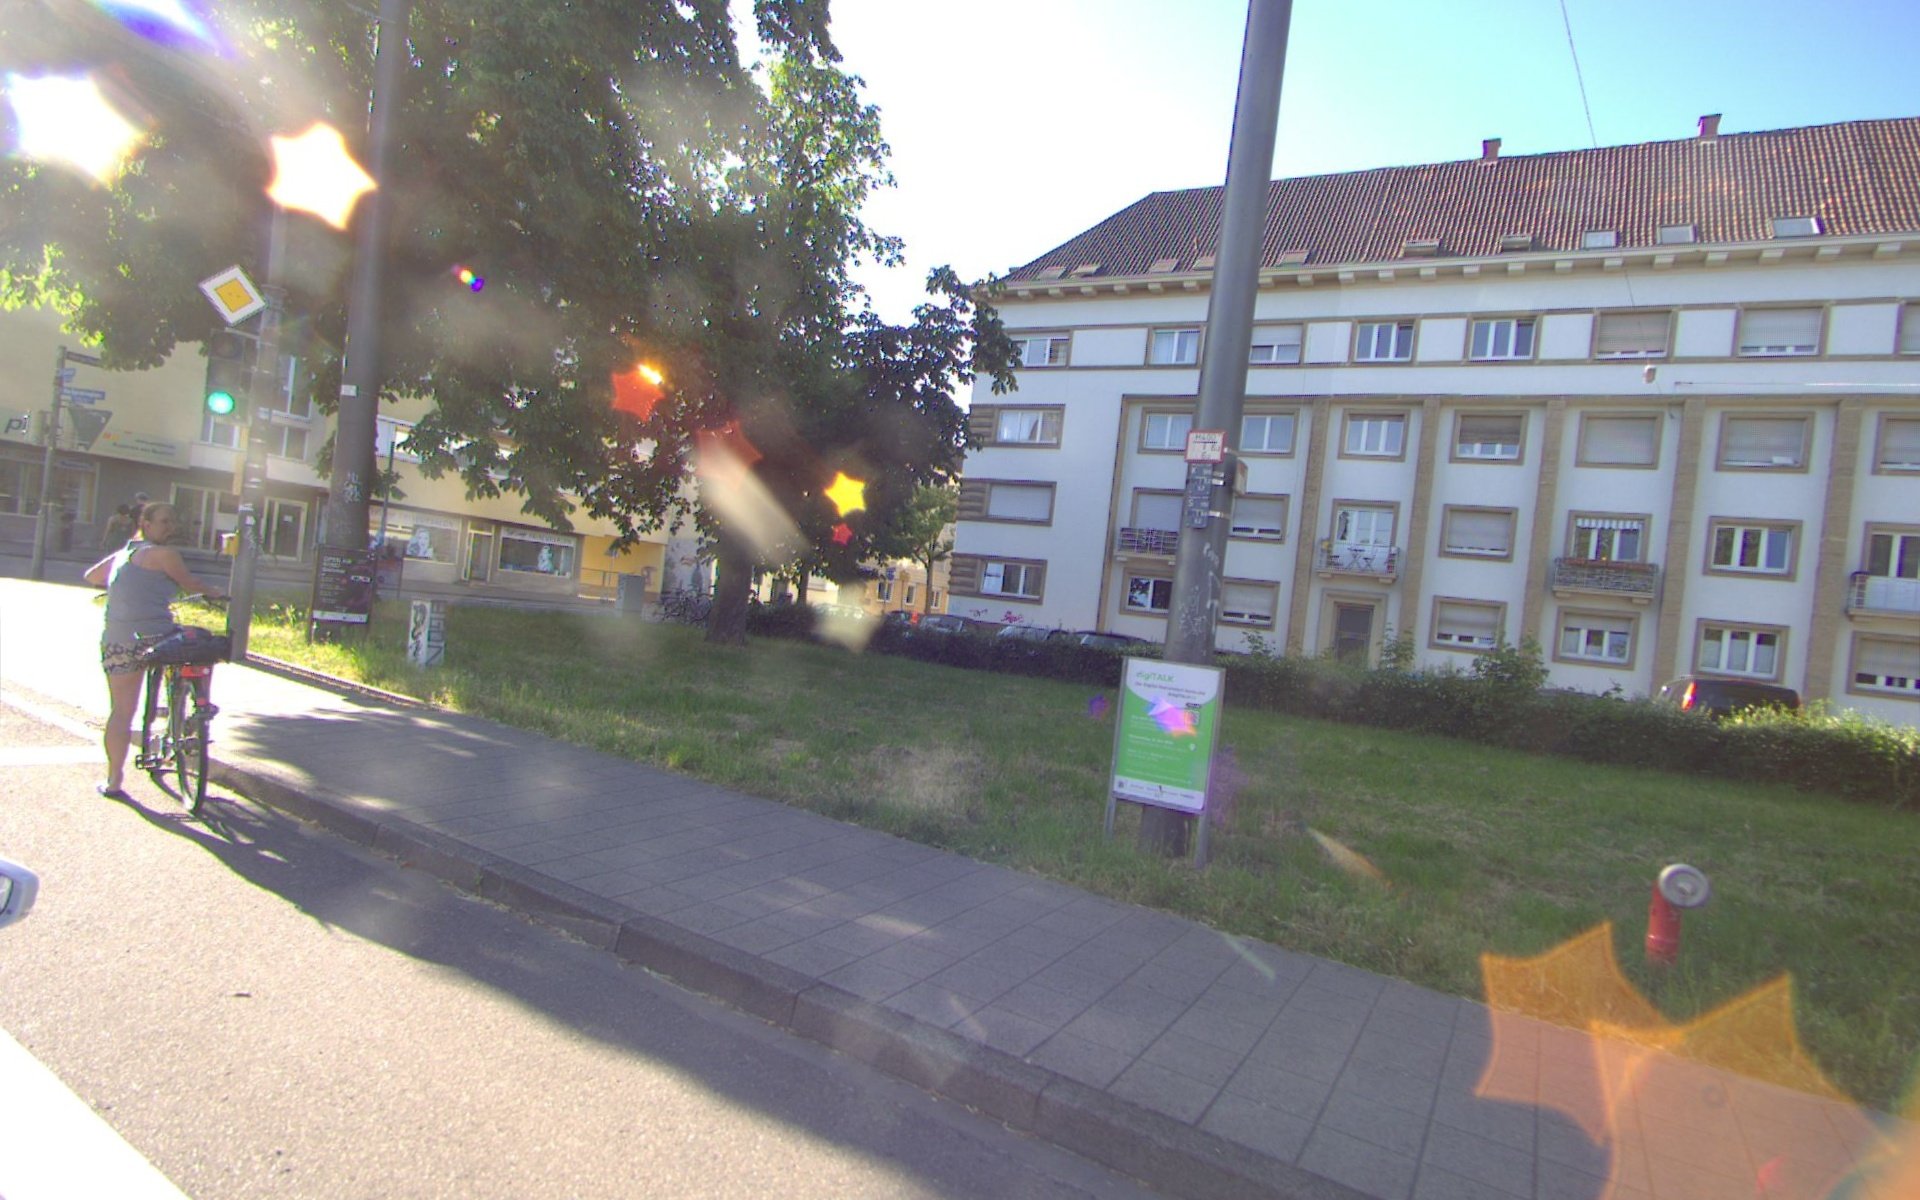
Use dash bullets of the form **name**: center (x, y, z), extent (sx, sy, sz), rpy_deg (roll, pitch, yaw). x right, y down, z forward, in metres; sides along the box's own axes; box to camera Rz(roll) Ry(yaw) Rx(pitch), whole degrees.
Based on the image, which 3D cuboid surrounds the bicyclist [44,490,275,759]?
- **bicyclist**: center (-4.402, 0.137, 5.541), extent (0.790, 1.338, 0.639), rpy_deg (7, -2, 34)

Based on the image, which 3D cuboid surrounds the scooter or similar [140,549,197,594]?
- **scooter or similar**: center (-15.447, -0.546, 19.639), extent (0.670, 0.745, 0.599), rpy_deg (7, -3, 31)

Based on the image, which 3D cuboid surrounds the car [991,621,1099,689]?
- **car**: center (2.354, 1.513, 27.105), extent (1.549, 1.547, 3.254), rpy_deg (7, -1, 29)

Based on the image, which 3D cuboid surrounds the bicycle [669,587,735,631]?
- **bicycle**: center (-7.672, 0.264, 29.887), extent (1.957, 1.046, 0.598), rpy_deg (7, -2, 31)

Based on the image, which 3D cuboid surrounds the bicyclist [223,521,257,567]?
- **bicyclist**: center (-25.024, -1.944, 34.976), extent (0.765, 1.490, 0.887), rpy_deg (6, 2, -42)

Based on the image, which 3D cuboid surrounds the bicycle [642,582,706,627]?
- **bicycle**: center (-8.163, 0.131, 28.668), extent (1.766, 1.046, 0.598), rpy_deg (7, -2, 31)

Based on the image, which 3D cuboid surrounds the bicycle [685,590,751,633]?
- **bicycle**: center (-7.320, 0.335, 30.412), extent (1.973, 1.046, 0.598), rpy_deg (7, -2, 31)

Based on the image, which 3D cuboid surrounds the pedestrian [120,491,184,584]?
- **pedestrian**: center (-15.884, -1.223, 19.776), extent (0.525, 1.701, 0.729), rpy_deg (6, -2, 44)

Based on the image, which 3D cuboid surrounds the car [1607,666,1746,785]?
- **car**: center (13.568, 2.408, 19.268), extent (1.739, 1.813, 3.997), rpy_deg (7, -3, 32)

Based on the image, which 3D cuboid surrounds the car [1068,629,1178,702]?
- **car**: center (4.148, 1.651, 25.268), extent (1.549, 1.547, 3.254), rpy_deg (7, -1, 29)

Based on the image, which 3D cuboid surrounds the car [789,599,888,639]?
- **car**: center (-6.888, 1.073, 57.405), extent (5.062, 1.513, 2.208), rpy_deg (8, 1, -35)

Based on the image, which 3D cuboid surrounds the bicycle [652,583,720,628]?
- **bicycle**: center (-8.000, 0.161, 29.327), extent (1.973, 1.046, 0.598), rpy_deg (7, -2, 31)

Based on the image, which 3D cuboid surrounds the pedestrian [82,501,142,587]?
- **pedestrian**: center (-16.214, -1.068, 19.239), extent (0.489, 1.539, 0.646), rpy_deg (6, -2, 44)

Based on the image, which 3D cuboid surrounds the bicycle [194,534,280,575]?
- **bicycle**: center (-25.098, -1.578, 34.943), extent (2.246, 1.000, 0.778), rpy_deg (9, 3, -44)

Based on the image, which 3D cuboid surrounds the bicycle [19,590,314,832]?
- **bicycle**: center (-4.328, 0.550, 5.446), extent (1.775, 0.983, 0.649), rpy_deg (6, -3, 34)

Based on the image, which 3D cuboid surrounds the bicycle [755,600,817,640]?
- **bicycle**: center (-5.711, 0.648, 33.053), extent (1.973, 1.046, 0.598), rpy_deg (7, -2, 31)

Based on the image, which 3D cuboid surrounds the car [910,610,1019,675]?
- **car**: center (0.186, 1.233, 28.425), extent (1.549, 1.547, 3.254), rpy_deg (7, -1, 29)

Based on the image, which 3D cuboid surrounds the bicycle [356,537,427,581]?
- **bicycle**: center (-23.769, -1.699, 42.121), extent (0.598, 1.414, 2.477), rpy_deg (7, -3, 30)

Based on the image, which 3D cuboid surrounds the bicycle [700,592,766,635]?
- **bicycle**: center (-6.992, 0.405, 30.958), extent (1.973, 1.046, 0.598), rpy_deg (7, -2, 31)
